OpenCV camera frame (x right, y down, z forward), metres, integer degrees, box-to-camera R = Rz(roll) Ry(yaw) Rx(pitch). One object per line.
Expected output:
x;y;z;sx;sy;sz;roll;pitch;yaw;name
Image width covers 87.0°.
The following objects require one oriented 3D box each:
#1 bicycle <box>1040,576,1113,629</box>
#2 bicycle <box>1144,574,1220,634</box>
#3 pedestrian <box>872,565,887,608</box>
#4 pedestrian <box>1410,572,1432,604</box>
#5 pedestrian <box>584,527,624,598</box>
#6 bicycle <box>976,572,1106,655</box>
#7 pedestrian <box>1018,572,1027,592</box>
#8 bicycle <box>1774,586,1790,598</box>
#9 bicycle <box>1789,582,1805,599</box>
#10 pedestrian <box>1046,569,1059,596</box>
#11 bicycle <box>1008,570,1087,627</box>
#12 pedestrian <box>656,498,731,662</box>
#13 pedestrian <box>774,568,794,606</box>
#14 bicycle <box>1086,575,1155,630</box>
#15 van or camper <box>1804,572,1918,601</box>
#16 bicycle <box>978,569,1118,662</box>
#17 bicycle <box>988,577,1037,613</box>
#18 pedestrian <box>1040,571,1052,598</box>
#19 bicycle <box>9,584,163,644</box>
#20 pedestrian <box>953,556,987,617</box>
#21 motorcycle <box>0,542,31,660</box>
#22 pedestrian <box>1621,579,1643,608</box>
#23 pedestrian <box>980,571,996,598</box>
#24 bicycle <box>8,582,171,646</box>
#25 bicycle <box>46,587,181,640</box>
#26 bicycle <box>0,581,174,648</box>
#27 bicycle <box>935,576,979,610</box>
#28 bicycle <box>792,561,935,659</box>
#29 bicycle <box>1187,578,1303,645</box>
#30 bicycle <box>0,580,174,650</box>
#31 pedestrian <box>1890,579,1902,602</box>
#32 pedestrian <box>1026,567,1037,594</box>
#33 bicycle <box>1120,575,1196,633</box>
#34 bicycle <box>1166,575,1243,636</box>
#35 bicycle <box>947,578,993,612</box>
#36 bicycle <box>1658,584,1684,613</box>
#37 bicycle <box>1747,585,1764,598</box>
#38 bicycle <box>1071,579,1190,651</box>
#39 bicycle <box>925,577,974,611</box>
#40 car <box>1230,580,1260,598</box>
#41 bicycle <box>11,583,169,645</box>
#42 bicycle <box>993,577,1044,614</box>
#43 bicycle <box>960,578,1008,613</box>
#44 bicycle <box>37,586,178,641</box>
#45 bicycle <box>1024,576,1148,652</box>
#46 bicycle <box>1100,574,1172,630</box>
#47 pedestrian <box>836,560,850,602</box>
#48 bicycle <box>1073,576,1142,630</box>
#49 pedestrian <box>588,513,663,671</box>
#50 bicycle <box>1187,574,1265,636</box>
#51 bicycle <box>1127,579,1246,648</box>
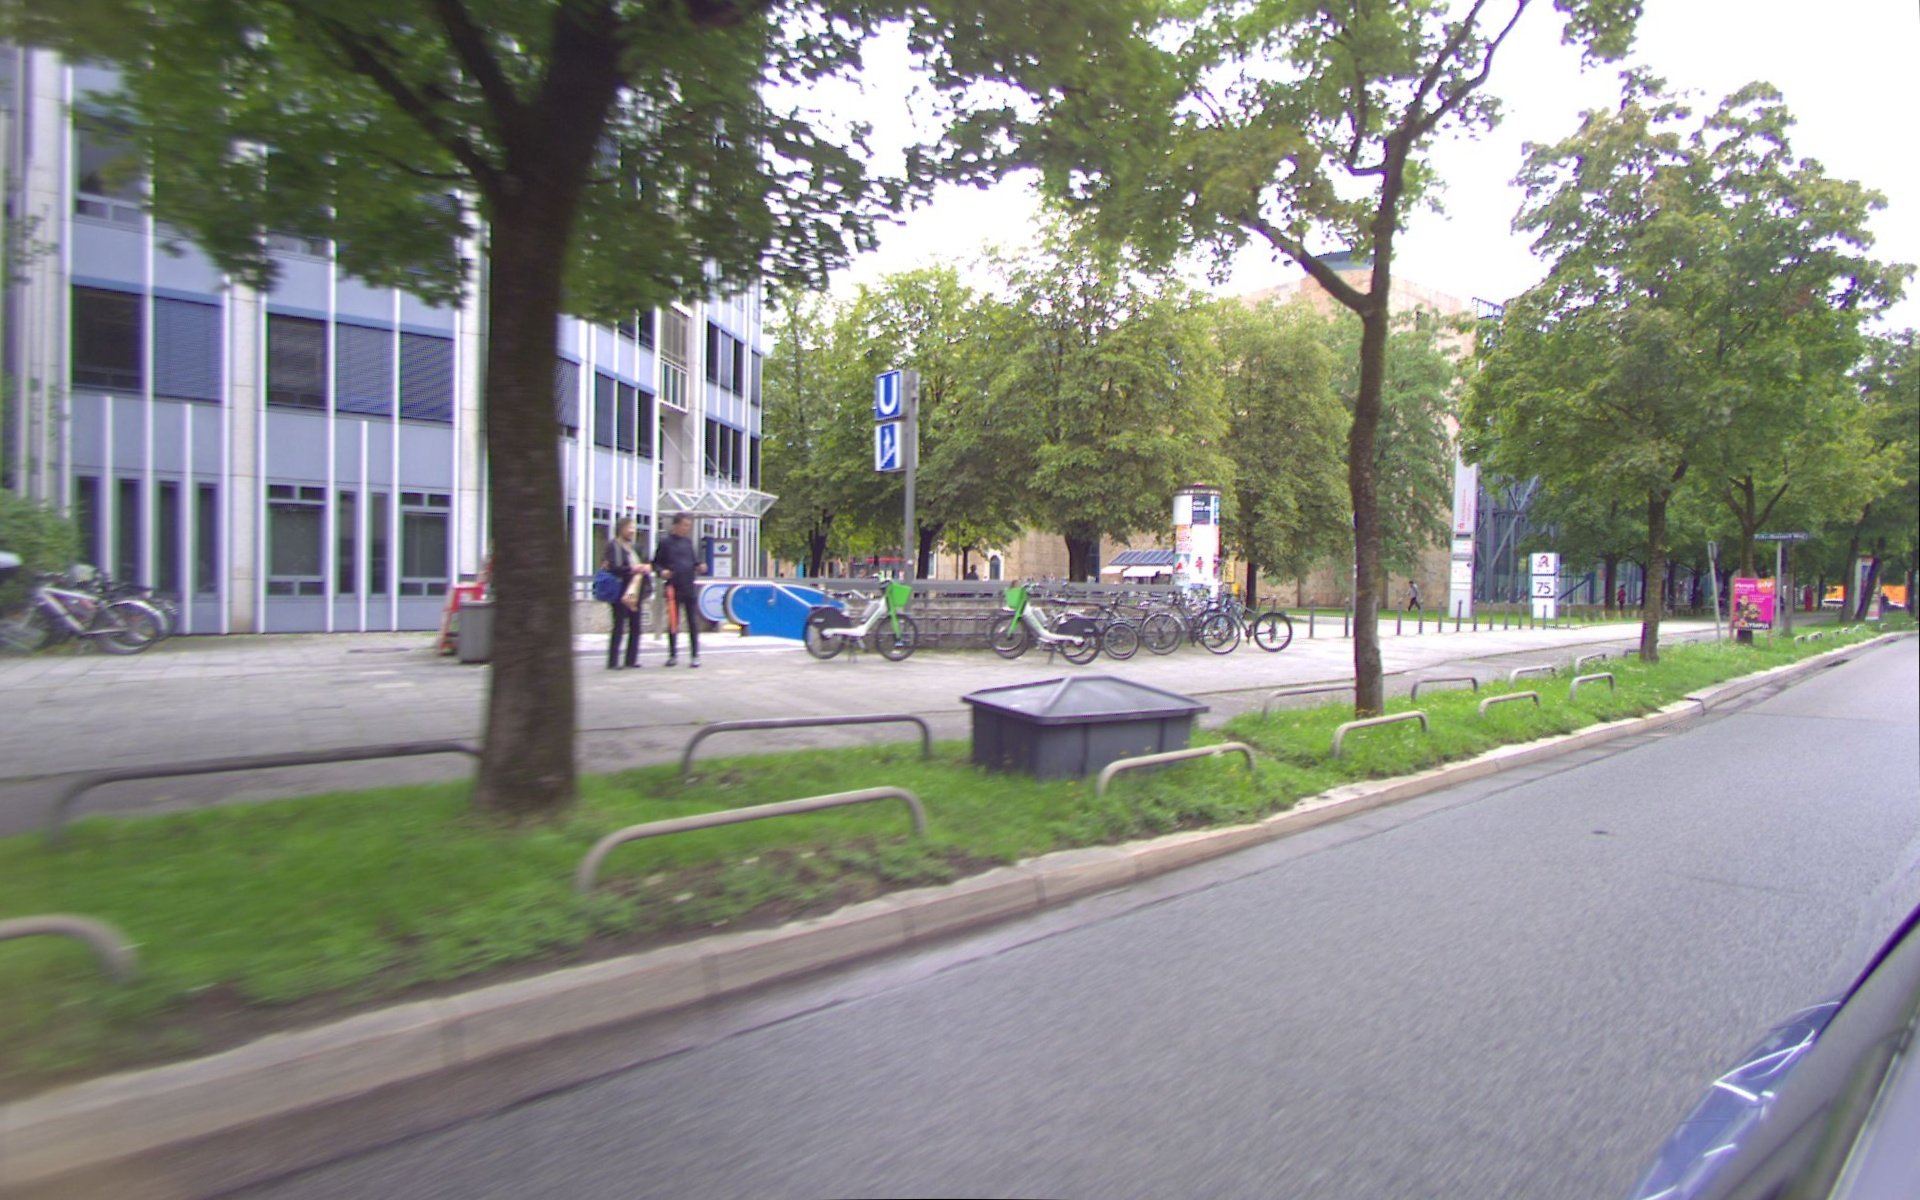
2.788;0.037;24.061;0.577;1.204;2.109;2;2;42;bicycle
4.686;0.068;21.265;1.919;1.204;0.489;0;1;-40;bicycle
-3.012;-0.508;37.985;0.401;1.591;0.348;0;1;-41;pedestrian
24.650;-0.647;54.150;0.861;1.666;0.573;1;1;-6;pedestrian
-8.745;-0.922;24.865;0.688;1.699;0.652;1;1;9;pedestrian
1.283;0.194;15.944;1.922;1.122;0.579;5;2;9;bicycle
4.122;-1.201;66.712;0.418;1.299;0.507;2;1;38;pedestrian
63.030;-0.602;77.638;2.103;0.952;0.512;0;1;-39;bicycle
63.713;-0.730;76.987;2.103;1.207;0.512;-1;2;-39;bicycle
5.981;-1.120;65.274;0.582;1.699;0.563;0;1;-38;pedestrian
2.148;-0.044;24.499;0.508;1.310;2.440;2;2;42;bicycle
-3.239;-0.243;12.289;0.734;1.923;0.654;1;1;-27;pedestrian
-7.867;-0.601;45.229;0.614;1.679;0.591;0;1;-39;pedestrian
3.709;0.043;23.254;0.445;1.204;2.109;2;2;42;bicycle
119.842;-1.841;134.877;3.263;3.597;10.892;0;2;-37;van or camper
1.297;0.206;15.016;1.930;1.203;0.593;4;2;20;bicycle
1.918;-0.182;36.819;0.508;1.276;2.142;2;2;42;bicycle
5.475;-0.991;64.513;0.581;1.699;0.504;1;1;-16;pedestrian
-13.334;0.216;15.490;1.743;0.864;0.559;1;1;-42;bicycle
0.298;-0.417;30.398;0.754;1.795;0.690;1;1;-26;pedestrian
-11.467;0.013;10.942;0.547;1.335;2.045;2;1;38;motorcycle
40.533;-0.406;61.046;0.846;1.665;0.740;0;3;-31;pedestrian
1.750;-0.979;63.322;0.850;1.699;0.588;0;1;-38;pedestrian
-12.492;0.205;14.578;1.743;0.864;0.559;1;1;-42;bicycle
-14.616;0.232;17.511;1.743;0.864;0.559;1;1;-42;bicycle
-12.082;0.200;14.048;1.802;0.864;0.553;1;1;-42;bicycle
-0.105;-0.263;38.648;0.508;1.276;1.924;2;1;42;bicycle
-1.284;0.147;13.703;1.825;1.241;0.532;2;2;-33;bicycle
5.343;0.206;19.066;1.998;1.112;0.579;3;4;9;bicycle
-11.619;0.196;13.455;1.802;0.864;0.683;1;1;-42;bicycle
74.384;-0.759;80.426;0.649;1.743;0.528;-1;4;-41;pedestrian
4.555;-1.221;64.499;0.584;1.699;0.501;1;1;14;pedestrian
4.263;0.070;21.703;1.919;1.204;0.489;0;1;-40;bicycle
5.047;0.092;20.807;1.919;1.204;0.489;0;1;-40;bicycle
0.399;-0.197;38.133;0.508;1.276;1.991;2;2;42;bicycle
32.971;-0.082;46.934;1.888;1.266;0.621;-1;2;-44;bicycle
61.362;-0.664;78.049;1.730;0.952;0.618;0;1;-39;bicycle
2.909;0.242;17.334;1.922;1.078;0.579;4;3;9;bicycle
-0.390;-0.246;39.217;0.552;1.276;2.142;2;2;42;bicycle
16.551;-0.650;58.763;2.042;1.026;0.677;-2;3;-42;car
-12.885;0.210;15.038;1.743;0.864;0.559;1;1;-42;bicycle
2.093;-0.172;36.085;0.607;1.276;2.022;2;2;45;bicycle
0.923;-0.169;37.800;0.508;1.276;2.142;2;2;42;bicycle
-14.106;0.225;16.794;1.743;0.864;0.559;1;1;-42;bicycle
2.063;0.210;16.622;1.922;1.097;0.595;4;1;9;bicycle
3.942;0.029;22.552;1.919;1.204;0.446;0;1;-40;bicycle
-4.297;-0.699;37.073;0.386;1.510;0.385;0;1;-29;pedestrian
3.496;0.049;23.813;0.511;1.204;2.109;2;2;42;bicycle
-3.847;-0.100;11.612;0.734;1.736;0.787;1;1;-23;pedestrian
5.389;0.089;20.413;1.919;1.204;0.489;0;1;-40;bicycle
4.037;0.228;18.179;2.007;1.102;0.604;2;4;9;bicycle
